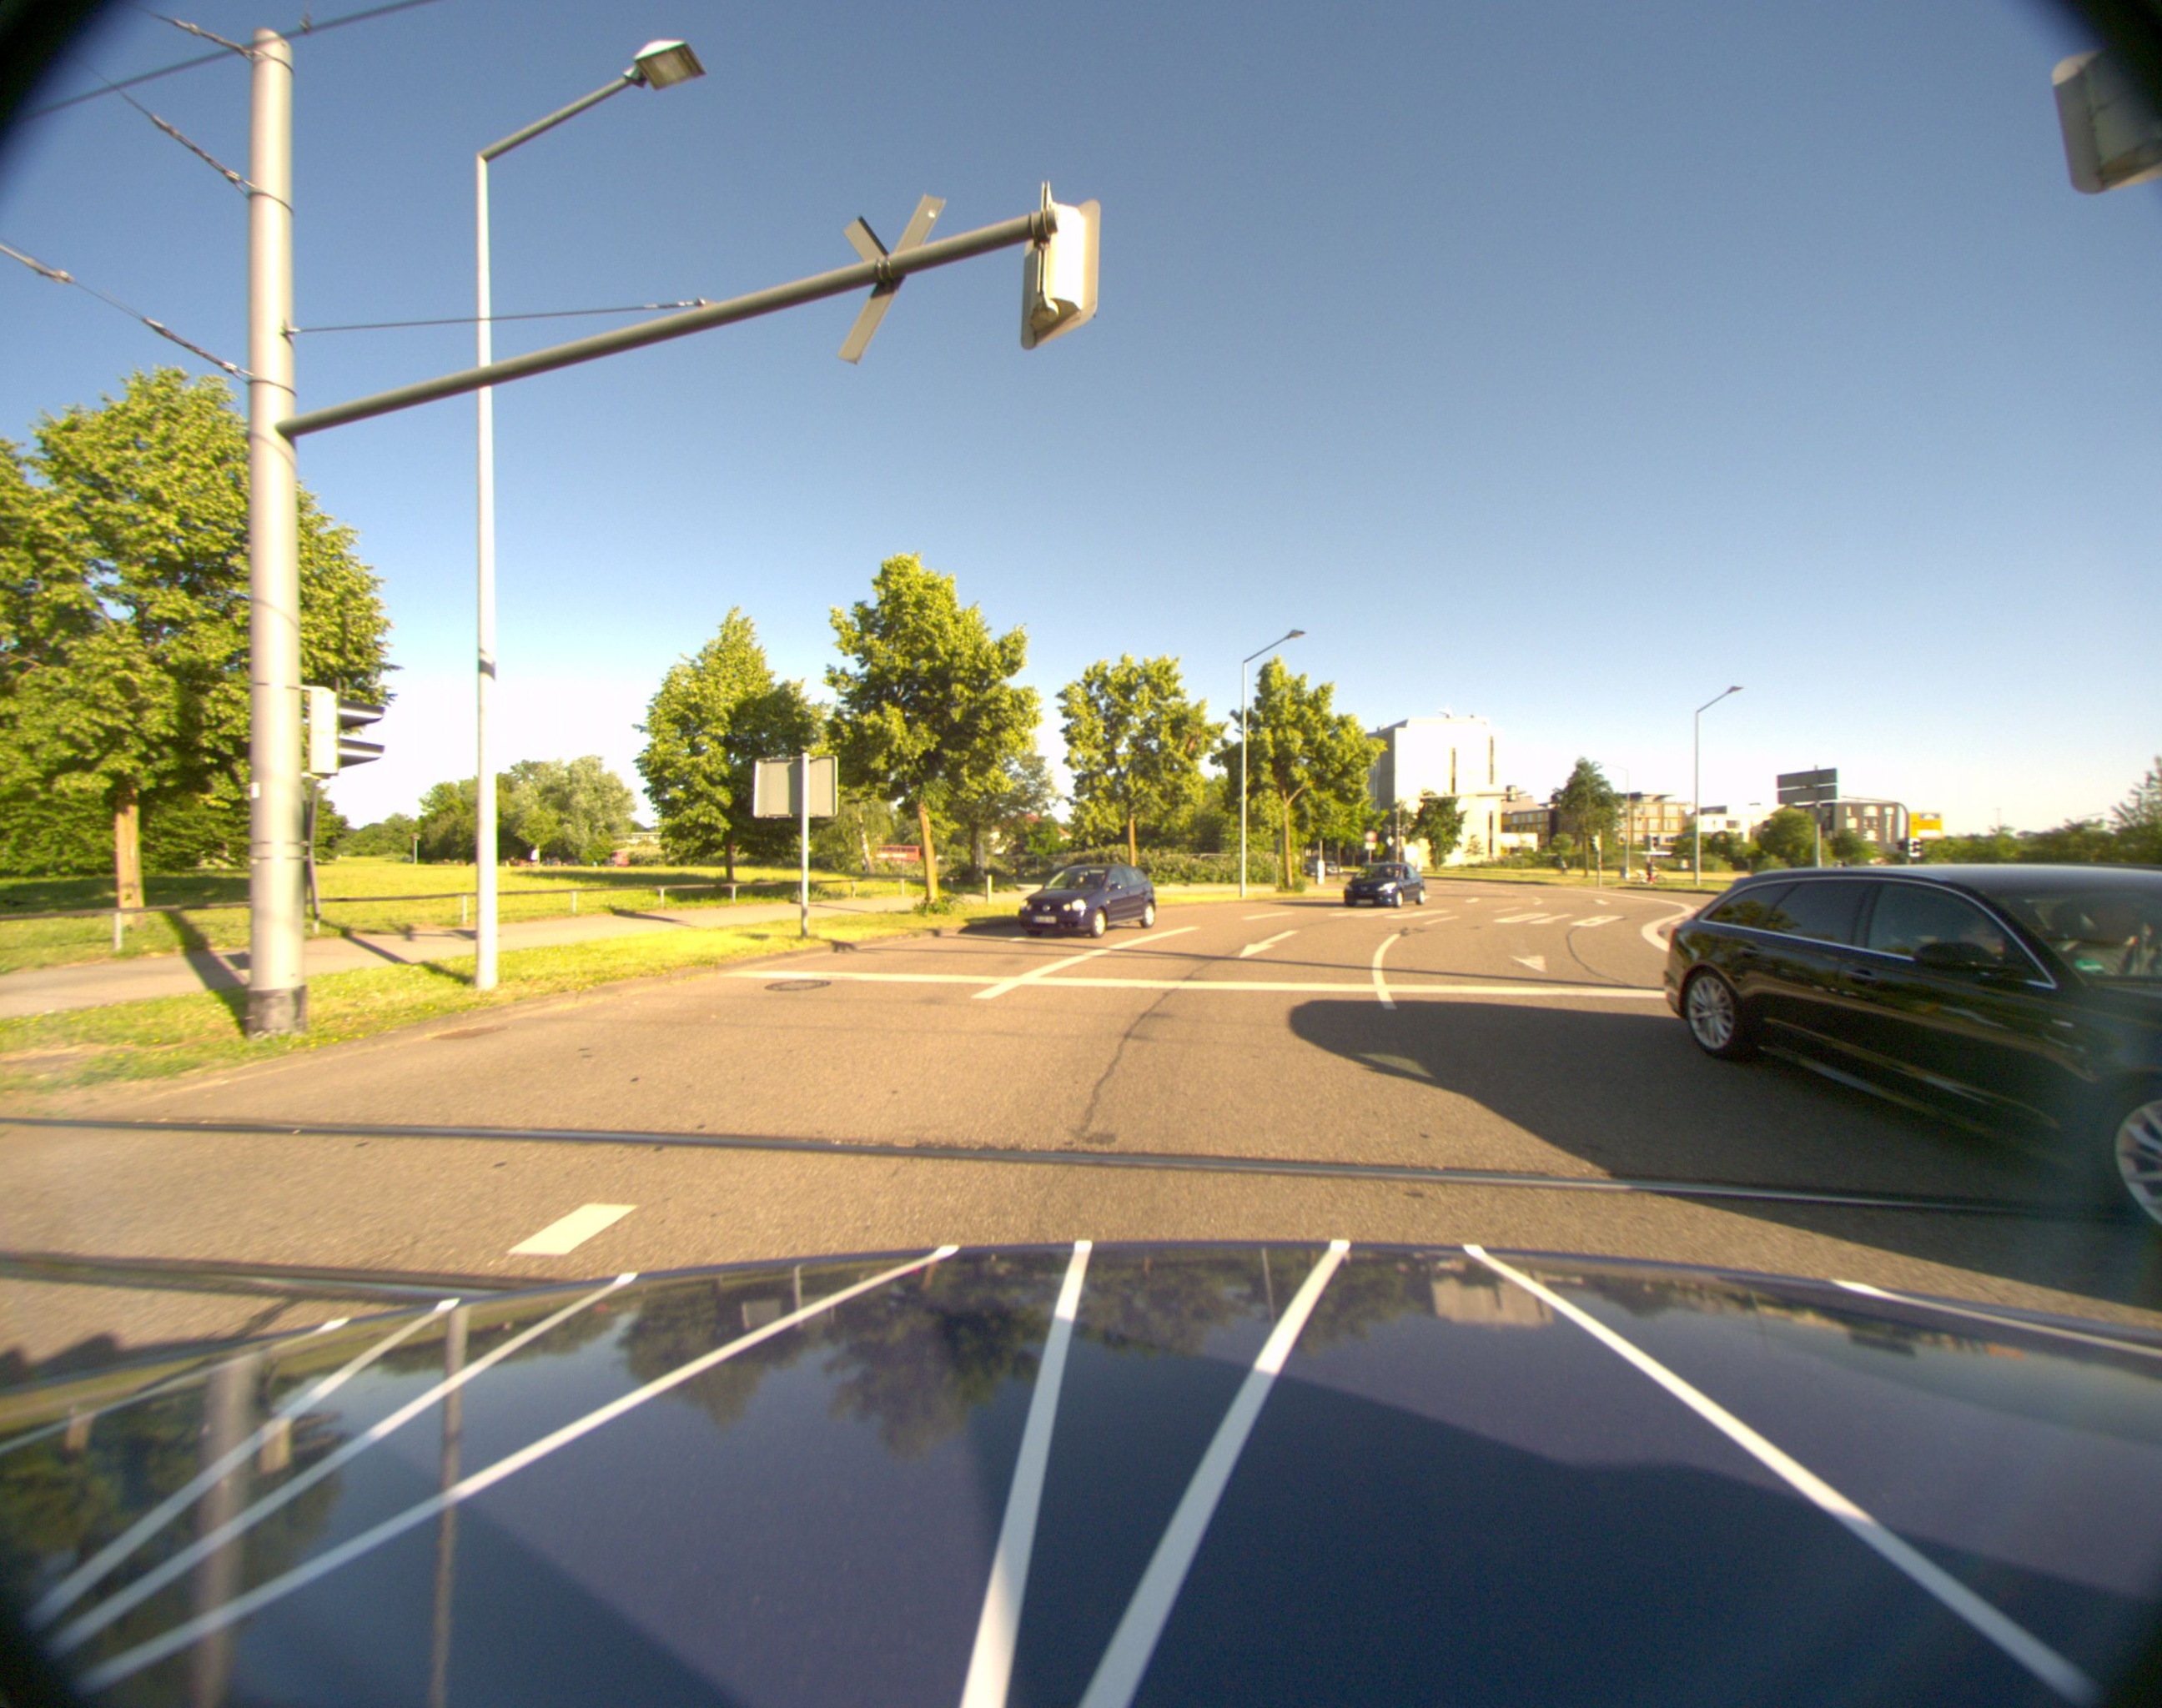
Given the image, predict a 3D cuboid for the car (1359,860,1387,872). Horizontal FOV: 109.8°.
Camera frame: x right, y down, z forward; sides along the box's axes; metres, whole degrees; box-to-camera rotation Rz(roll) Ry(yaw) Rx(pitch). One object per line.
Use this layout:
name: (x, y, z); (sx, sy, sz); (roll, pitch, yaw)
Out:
car: (39.781, 1.646, 103.734); (2.008, 1.532, 4.324); (0, 0, -2)

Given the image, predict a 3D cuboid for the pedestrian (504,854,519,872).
pedestrian: (-46.663, 0.757, 62.249); (0.687, 1.432, 0.793); (0, 0, -16)

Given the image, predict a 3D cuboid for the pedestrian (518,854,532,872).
pedestrian: (-45.447, 0.729, 62.165); (0.687, 1.432, 0.793); (0, 0, -16)

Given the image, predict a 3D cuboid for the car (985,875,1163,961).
car: (0.038, 1.209, 15.959); (1.634, 1.459, 4.555); (0, 0, 30)

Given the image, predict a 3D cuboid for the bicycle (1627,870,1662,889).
bicycle: (33.679, 1.529, 45.442); (1.655, 1.122, 0.704); (0, 1, -9)

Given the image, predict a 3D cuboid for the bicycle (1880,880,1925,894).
bicycle: (49.132, 1.973, 45.462); (1.886, 0.847, 0.617); (0, 0, 6)

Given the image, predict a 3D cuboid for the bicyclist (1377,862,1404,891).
bicyclist: (17.474, 1.268, 42.936); (1.089, 1.553, 0.874); (1, 1, -23)

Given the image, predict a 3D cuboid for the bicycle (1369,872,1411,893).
bicycle: (17.448, 1.596, 42.929); (2.219, 1.148, 0.874); (1, 1, -23)

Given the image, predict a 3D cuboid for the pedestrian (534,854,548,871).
pedestrian: (-44.638, 0.699, 62.804); (0.774, 1.432, 0.793); (0, 0, -16)

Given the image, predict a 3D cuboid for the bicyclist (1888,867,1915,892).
bicyclist: (49.082, 1.511, 45.462); (0.924, 1.508, 0.617); (0, 0, 6)

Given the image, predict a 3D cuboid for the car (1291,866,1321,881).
car: (23.104, 1.996, 78.111); (1.723, 1.371, 4.067); (-1, 1, -2)

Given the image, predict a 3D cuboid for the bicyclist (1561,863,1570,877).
bicyclist: (51.454, 1.684, 80.742); (0.432, 1.555, 0.852); (0, 0, 5)

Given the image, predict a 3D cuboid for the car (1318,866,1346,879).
car: (26.778, 1.945, 81.131); (1.935, 1.371, 4.539); (0, 0, 7)

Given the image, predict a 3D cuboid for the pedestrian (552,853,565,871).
pedestrian: (-43.302, 0.665, 62.936); (0.662, 1.432, 0.793); (0, 0, -16)

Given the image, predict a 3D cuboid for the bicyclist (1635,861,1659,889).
bicyclist: (33.874, 1.260, 45.478); (0.943, 1.654, 0.704); (0, 1, -9)

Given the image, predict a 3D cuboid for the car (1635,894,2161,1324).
car: (5.136, 1.026, 3.929); (1.795, 1.434, 5.023); (0, -1, 12)

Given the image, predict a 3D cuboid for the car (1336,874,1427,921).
car: (10.316, 1.427, 25.897); (1.753, 1.445, 4.009); (-1, -2, 39)

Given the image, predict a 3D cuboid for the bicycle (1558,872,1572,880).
bicycle: (51.465, 2.342, 80.811); (0.491, 0.847, 1.890); (0, 0, 5)
